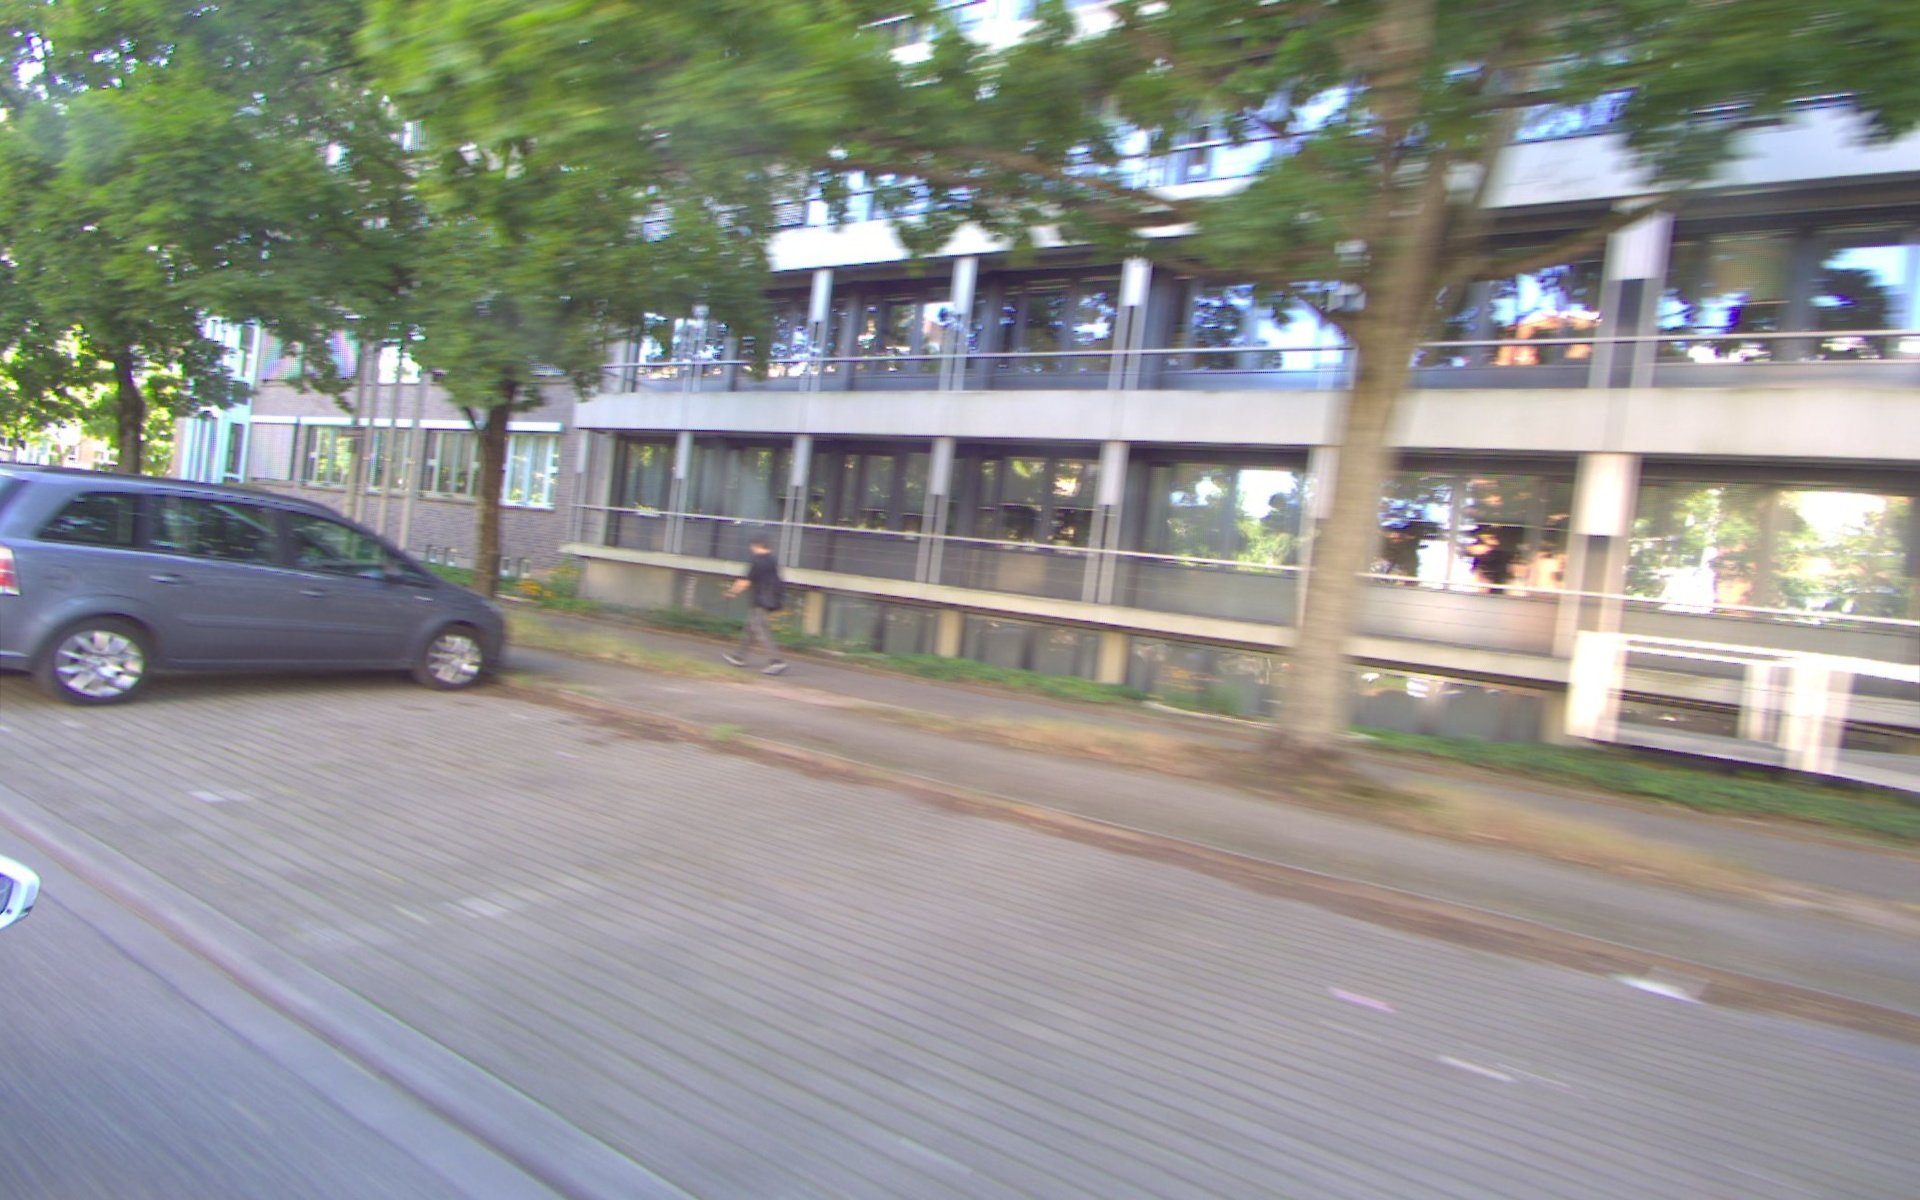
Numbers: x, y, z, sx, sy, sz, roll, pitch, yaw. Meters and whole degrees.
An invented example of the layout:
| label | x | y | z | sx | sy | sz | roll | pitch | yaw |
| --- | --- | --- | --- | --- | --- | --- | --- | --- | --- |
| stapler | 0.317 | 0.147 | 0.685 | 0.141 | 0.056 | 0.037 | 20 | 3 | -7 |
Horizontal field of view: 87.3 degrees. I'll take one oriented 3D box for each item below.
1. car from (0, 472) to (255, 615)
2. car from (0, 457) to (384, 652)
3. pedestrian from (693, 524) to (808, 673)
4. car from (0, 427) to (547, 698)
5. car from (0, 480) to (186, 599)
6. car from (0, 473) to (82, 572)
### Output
| label | x | y | z | sx | sy | sz | roll | pitch | yaw |
| --- | --- | --- | --- | --- | --- | --- | --- | --- | --- |
| car | -11.329 | -0.734 | 12.161 | 1.781 | 1.556 | 4.195 | 7 | 1 | 29 |
| car | -8.493 | -0.437 | 10.216 | 1.781 | 1.690 | 4.195 | 7 | 1 | 29 |
| pedestrian | -2.684 | -0.020 | 12.865 | 1.171 | 1.768 | 0.607 | 7 | 1 | 32 |
| car | -5.965 | -0.253 | 8.461 | 1.781 | 1.726 | 4.355 | 7 | 1 | 29 |
| car | -13.196 | -0.908 | 13.379 | 1.781 | 1.467 | 4.195 | 7 | 1 | 29 |
| car | -16.925 | -1.419 | 15.896 | 1.781 | 1.556 | 4.195 | 7 | 1 | 29 |
